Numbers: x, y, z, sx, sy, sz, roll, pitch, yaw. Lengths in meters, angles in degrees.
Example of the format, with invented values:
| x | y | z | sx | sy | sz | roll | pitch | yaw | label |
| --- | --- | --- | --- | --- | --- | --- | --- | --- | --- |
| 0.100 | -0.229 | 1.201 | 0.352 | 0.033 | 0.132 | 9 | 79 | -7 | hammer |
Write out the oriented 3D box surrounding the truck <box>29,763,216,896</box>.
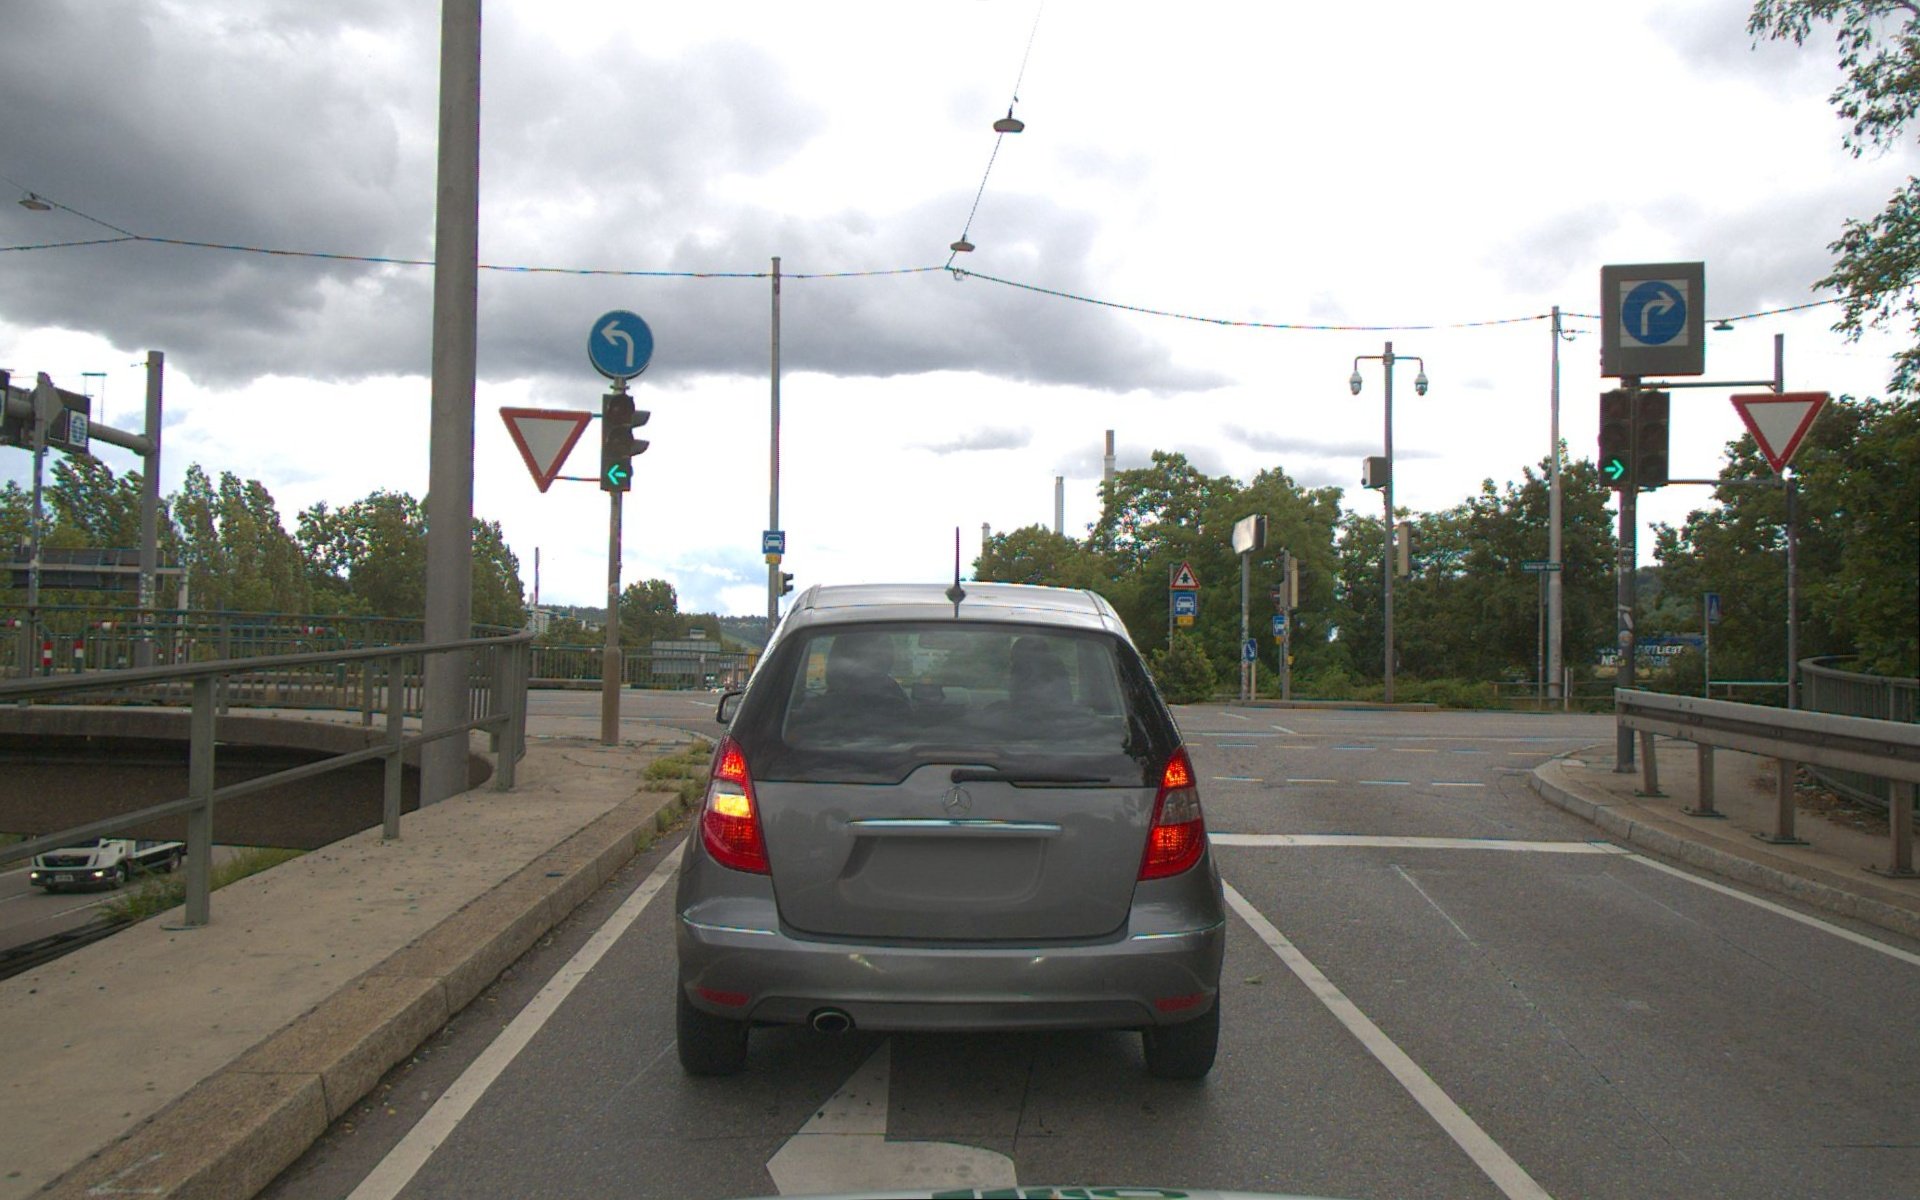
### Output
| x | y | z | sx | sy | sz | roll | pitch | yaw | label |
| --- | --- | --- | --- | --- | --- | --- | --- | --- | --- |
| -27.263 | 7.360 | 54.298 | 2.463 | 3.522 | 8.122 | -1 | -3 | -4 | truck |

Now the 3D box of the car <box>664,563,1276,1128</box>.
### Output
| x | y | z | sx | sy | sz | roll | pitch | yaw | label |
| --- | --- | --- | --- | --- | --- | --- | --- | --- | --- |
| 0.015 | 0.702 | 6.441 | 1.704 | 1.570 | 3.540 | 1 | 0 | -1 | car |
